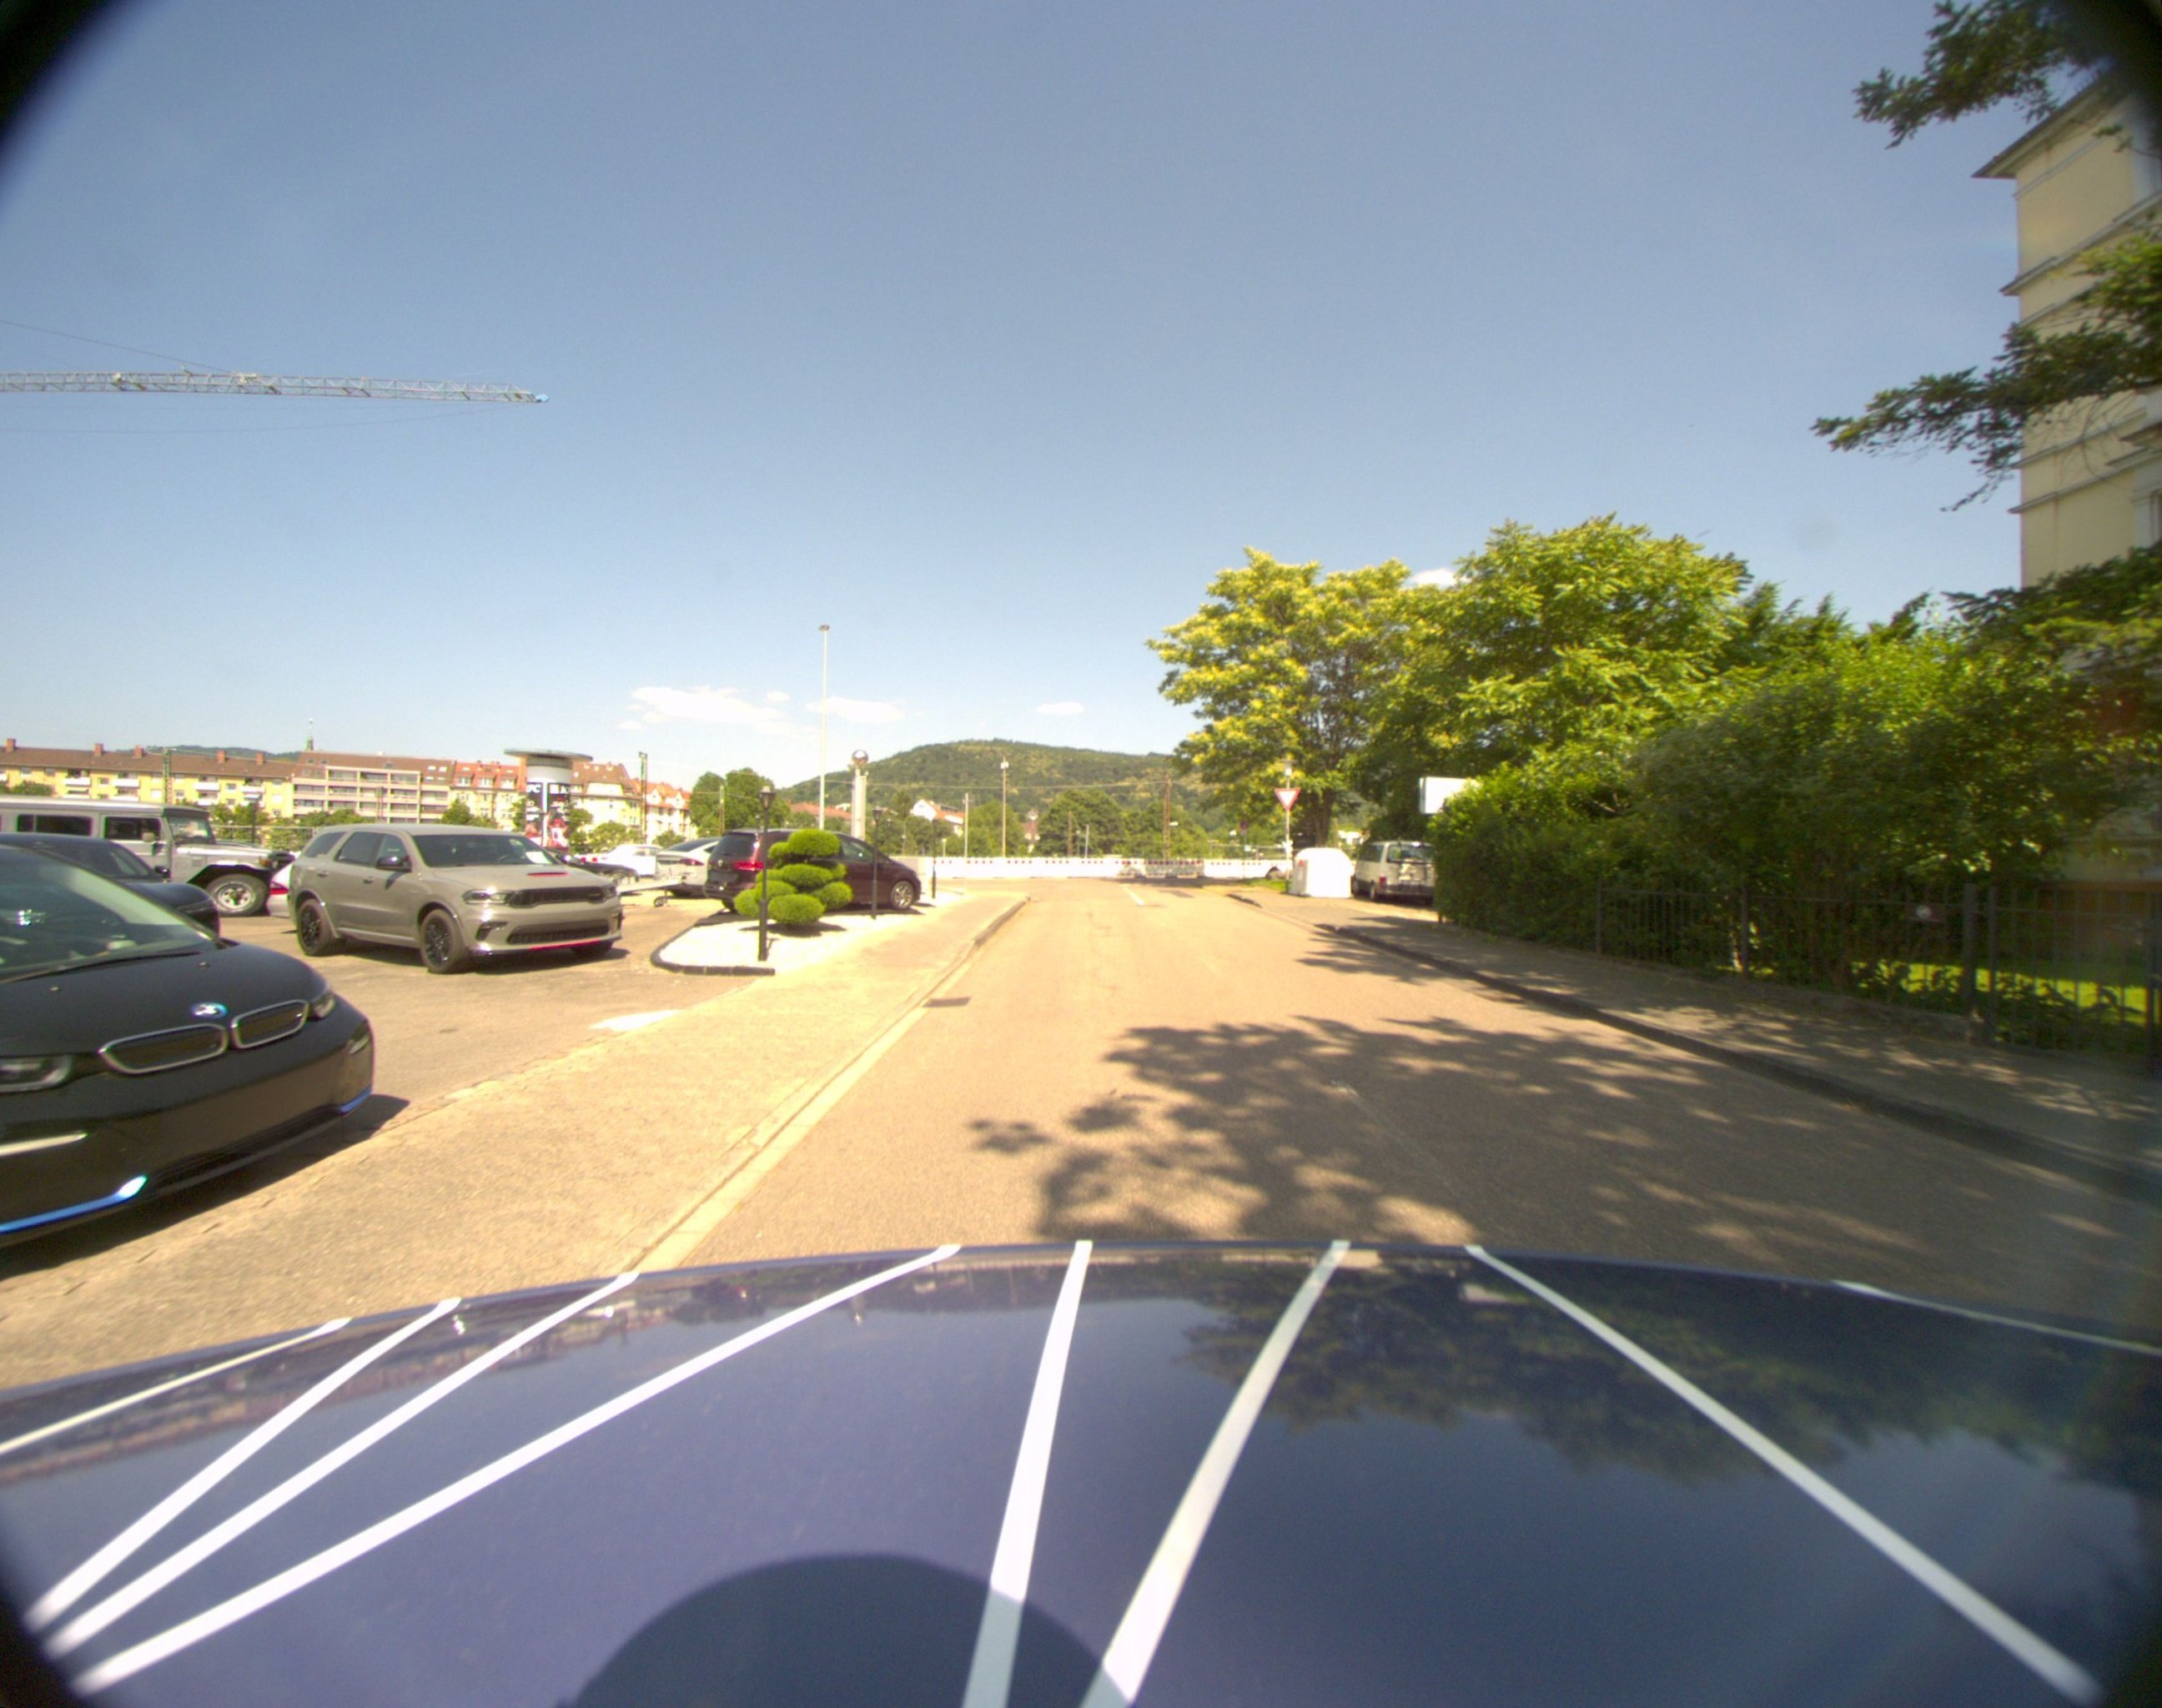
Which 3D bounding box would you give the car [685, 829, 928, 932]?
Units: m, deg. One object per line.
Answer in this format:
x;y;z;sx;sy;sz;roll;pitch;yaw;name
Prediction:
-5.362;0.432;15.358;1.847;1.772;4.299;2;1;36;car

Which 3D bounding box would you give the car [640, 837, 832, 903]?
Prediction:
-9.736;0.388;21.910;2.012;1.682;4.826;1;1;27;car

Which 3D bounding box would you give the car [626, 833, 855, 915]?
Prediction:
-8.243;0.407;18.872;2.011;1.769;4.828;1;1;35;car

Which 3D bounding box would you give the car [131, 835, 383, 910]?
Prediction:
-18.676;0.361;17.403;1.642;1.541;3.768;1;1;41;car

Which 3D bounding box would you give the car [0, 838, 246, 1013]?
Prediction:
-12.147;0.652;8.746;4.566;1.626;1.928;1;1;22;car

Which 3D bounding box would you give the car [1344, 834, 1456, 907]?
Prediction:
9.955;0.404;24.160;1.997;1.920;5.102;3;3;9;car

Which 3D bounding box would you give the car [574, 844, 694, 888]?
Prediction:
-17.681;0.432;30.265;4.006;1.630;1.995;0;1;-29;car

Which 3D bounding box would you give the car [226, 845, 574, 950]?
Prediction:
-11.429;0.616;13.146;4.216;1.525;1.919;0;1;-40;car

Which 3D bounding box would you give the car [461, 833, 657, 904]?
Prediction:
-13.818;0.335;20.270;1.855;1.696;4.009;1;1;43;car

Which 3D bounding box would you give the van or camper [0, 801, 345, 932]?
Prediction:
-18.005;0.202;14.326;5.512;2.248;2.108;0;1;-22;van or camper

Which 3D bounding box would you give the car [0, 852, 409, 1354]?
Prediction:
-5.458;0.805;3.113;3.812;1.615;1.759;1;1;-1;car

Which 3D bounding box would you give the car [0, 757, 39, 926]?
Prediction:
-19.562;-0.175;10.322;6.025;2.663;2.255;0;1;-22;car

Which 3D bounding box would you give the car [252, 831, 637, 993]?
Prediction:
-8.493;0.604;10.106;4.984;1.752;1.928;1;1;24;car
